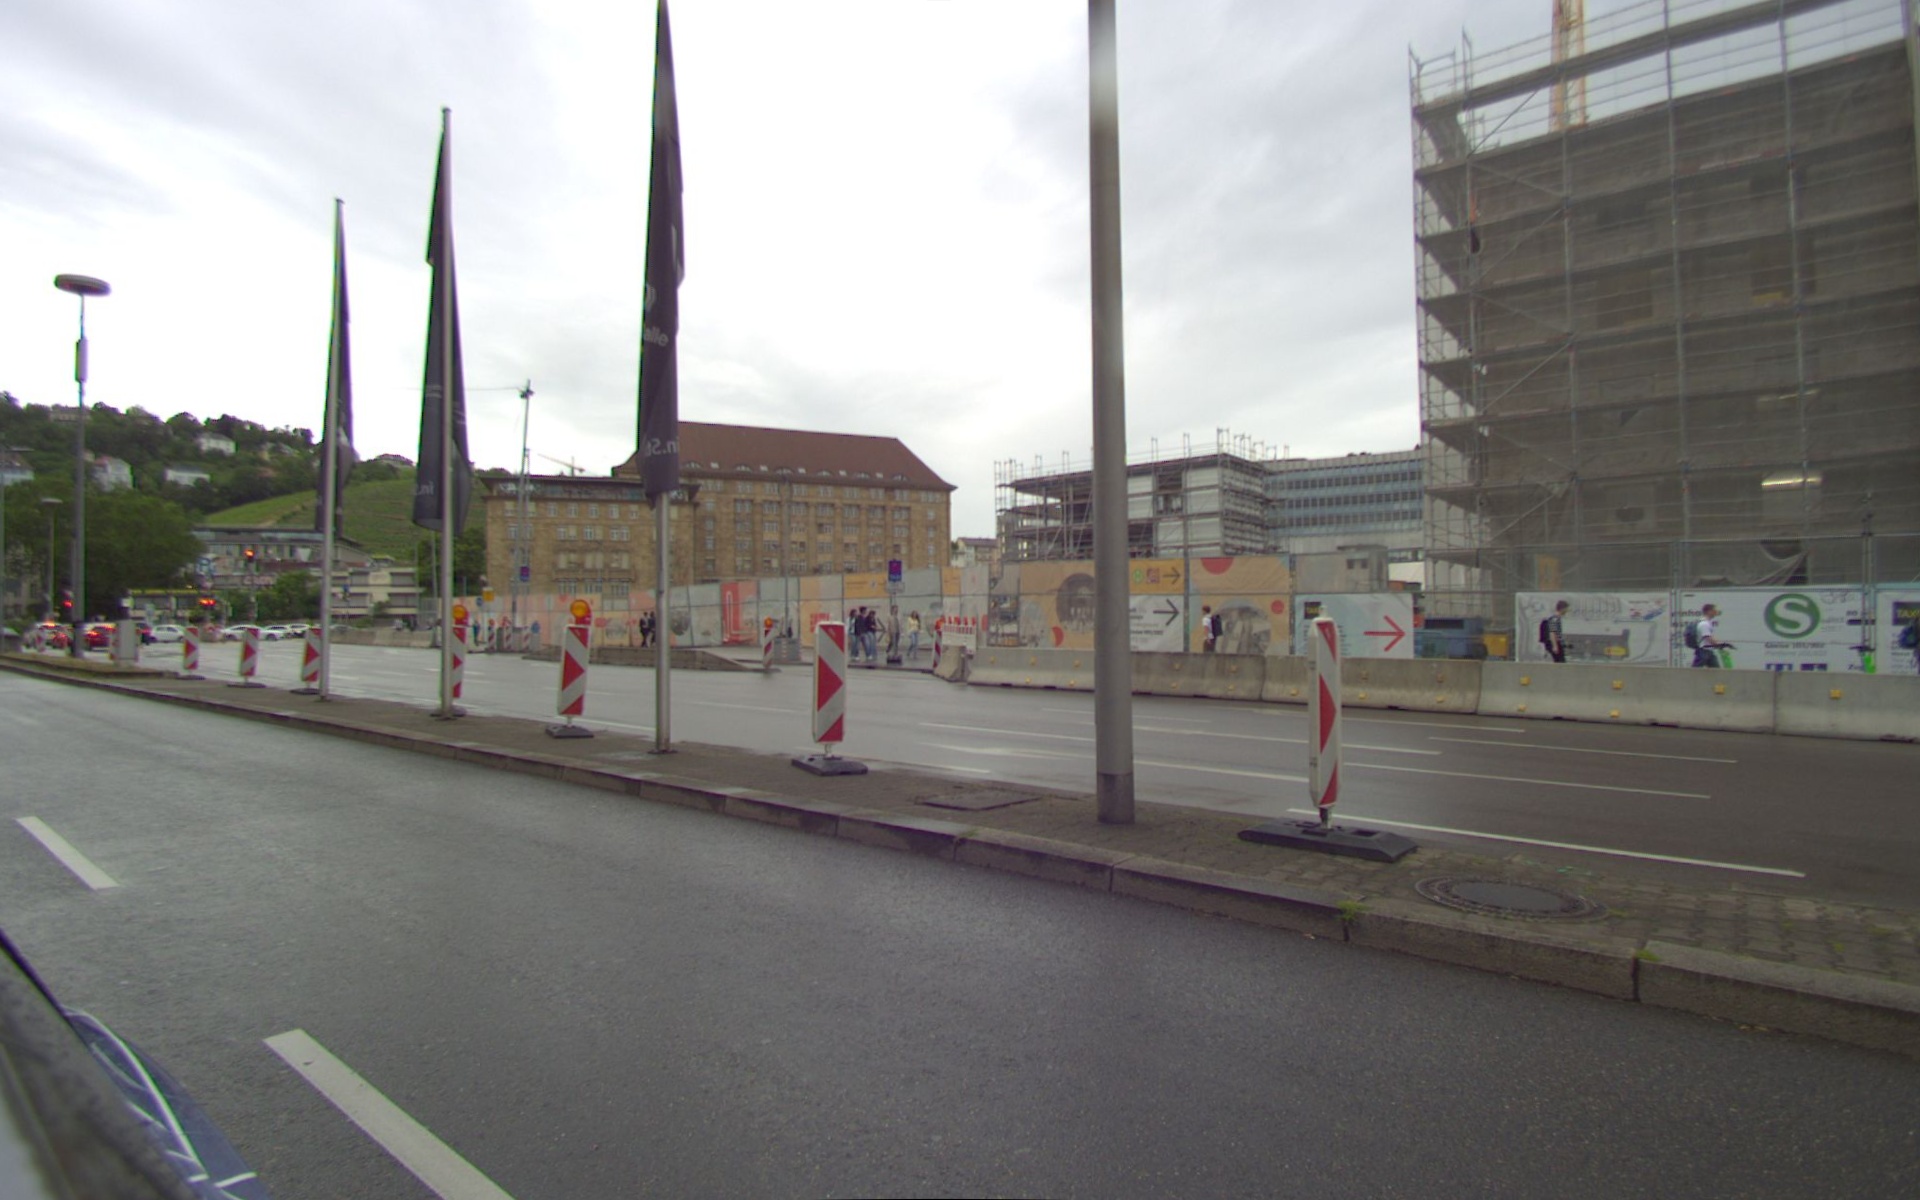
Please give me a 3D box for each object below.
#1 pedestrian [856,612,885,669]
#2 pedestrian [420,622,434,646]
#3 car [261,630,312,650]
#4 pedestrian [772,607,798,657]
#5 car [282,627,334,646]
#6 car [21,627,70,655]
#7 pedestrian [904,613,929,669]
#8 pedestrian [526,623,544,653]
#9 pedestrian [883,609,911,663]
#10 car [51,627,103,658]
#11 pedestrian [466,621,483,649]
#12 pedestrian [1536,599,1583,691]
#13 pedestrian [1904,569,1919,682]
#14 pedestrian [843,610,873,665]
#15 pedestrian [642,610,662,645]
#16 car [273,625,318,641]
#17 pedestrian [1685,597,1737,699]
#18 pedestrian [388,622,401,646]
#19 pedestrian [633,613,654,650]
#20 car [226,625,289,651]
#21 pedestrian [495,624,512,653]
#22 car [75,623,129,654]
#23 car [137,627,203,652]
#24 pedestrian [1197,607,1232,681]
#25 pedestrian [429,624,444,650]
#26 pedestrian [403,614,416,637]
[{"bbox_3d":[-3.001,1.342,33.885,0.704,1.850,0.719,-1,0,-31],"label":"pedestrian"},{"bbox_3d":[-36.090,2.301,68.517,0.544,1.628,0.706,-1,0,41],"label":"pedestrian"},{"bbox_3d":[-69.125,4.041,103.924,4.136,1.871,1.833,-1,0,-44],"label":"car"},{"bbox_3d":[-6.502,1.179,37.597,0.720,1.850,0.656,-1,0,41],"label":"pedestrian"},{"bbox_3d":[-59.542,3.286,92.454,3.934,1.644,2.005,0,-2,-36],"label":"car"},{"bbox_3d":[-58.994,2.607,65.260,3.913,1.707,1.763,-1,0,40],"label":"car"},{"bbox_3d":[-1.468,1.359,33.984,0.651,1.850,0.557,-1,0,-29],"label":"pedestrian"},{"bbox_3d":[-23.529,2.096,56.011,0.544,1.628,0.706,-1,0,41],"label":"pedestrian"},{"bbox_3d":[-2.095,1.187,33.634,0.704,1.757,0.565,-1,0,-29],"label":"pedestrian"},{"bbox_3d":[-53.094,2.512,60.831,3.913,1.707,1.763,-1,0,40],"label":"car"},{"bbox_3d":[-28.681,2.038,59.773,0.544,1.628,0.706,-1,0,41],"label":"pedestrian"},{"bbox_3d":[12.268,0.907,20.712,0.717,1.850,0.579,-1,0,41],"label":"pedestrian"},{"bbox_3d":[16.089,0.416,16.693,0.717,1.850,0.475,-1,0,41],"label":"pedestrian"},{"bbox_3d":[-3.308,1.210,32.831,0.704,1.746,0.719,-1,0,-31],"label":"pedestrian"},{"bbox_3d":[-14.674,1.292,48.163,0.544,1.628,0.706,-1,0,41],"label":"pedestrian"},{"bbox_3d":[-70.899,3.509,108.027,3.934,1.644,2.005,0,-2,-36],"label":"car"},{"bbox_3d":[13.914,0.880,18.756,0.717,1.850,0.475,-1,0,41],"label":"pedestrian"},{"bbox_3d":[-40.508,2.433,72.497,0.705,1.628,0.544,-1,0,-44],"label":"pedestrian"},{"bbox_3d":[-14.172,1.398,45.361,0.544,1.628,0.706,-1,0,41],"label":"pedestrian"},{"bbox_3d":[-58.612,3.135,84.517,3.931,2.029,2.006,-1,0,-20],"label":"car"},{"bbox_3d":[-25.909,2.190,57.466,0.544,1.628,0.706,-1,0,41],"label":"pedestrian"},{"bbox_3d":[-48.667,2.160,57.381,3.914,1.707,1.762,-2,-2,41],"label":"car"},{"bbox_3d":[-67.475,3.347,86.482,3.932,2.029,2.006,-1,0,-16],"label":"car"},{"bbox_3d":[6.557,1.121,26.109,0.717,1.850,0.475,-1,0,41],"label":"pedestrian"},{"bbox_3d":[-33.331,2.333,64.426,0.544,1.628,0.706,-1,0,41],"label":"pedestrian"},{"bbox_3d":[-39.781,1.847,73.173,0.705,1.628,0.544,-1,0,-44],"label":"pedestrian"}]
